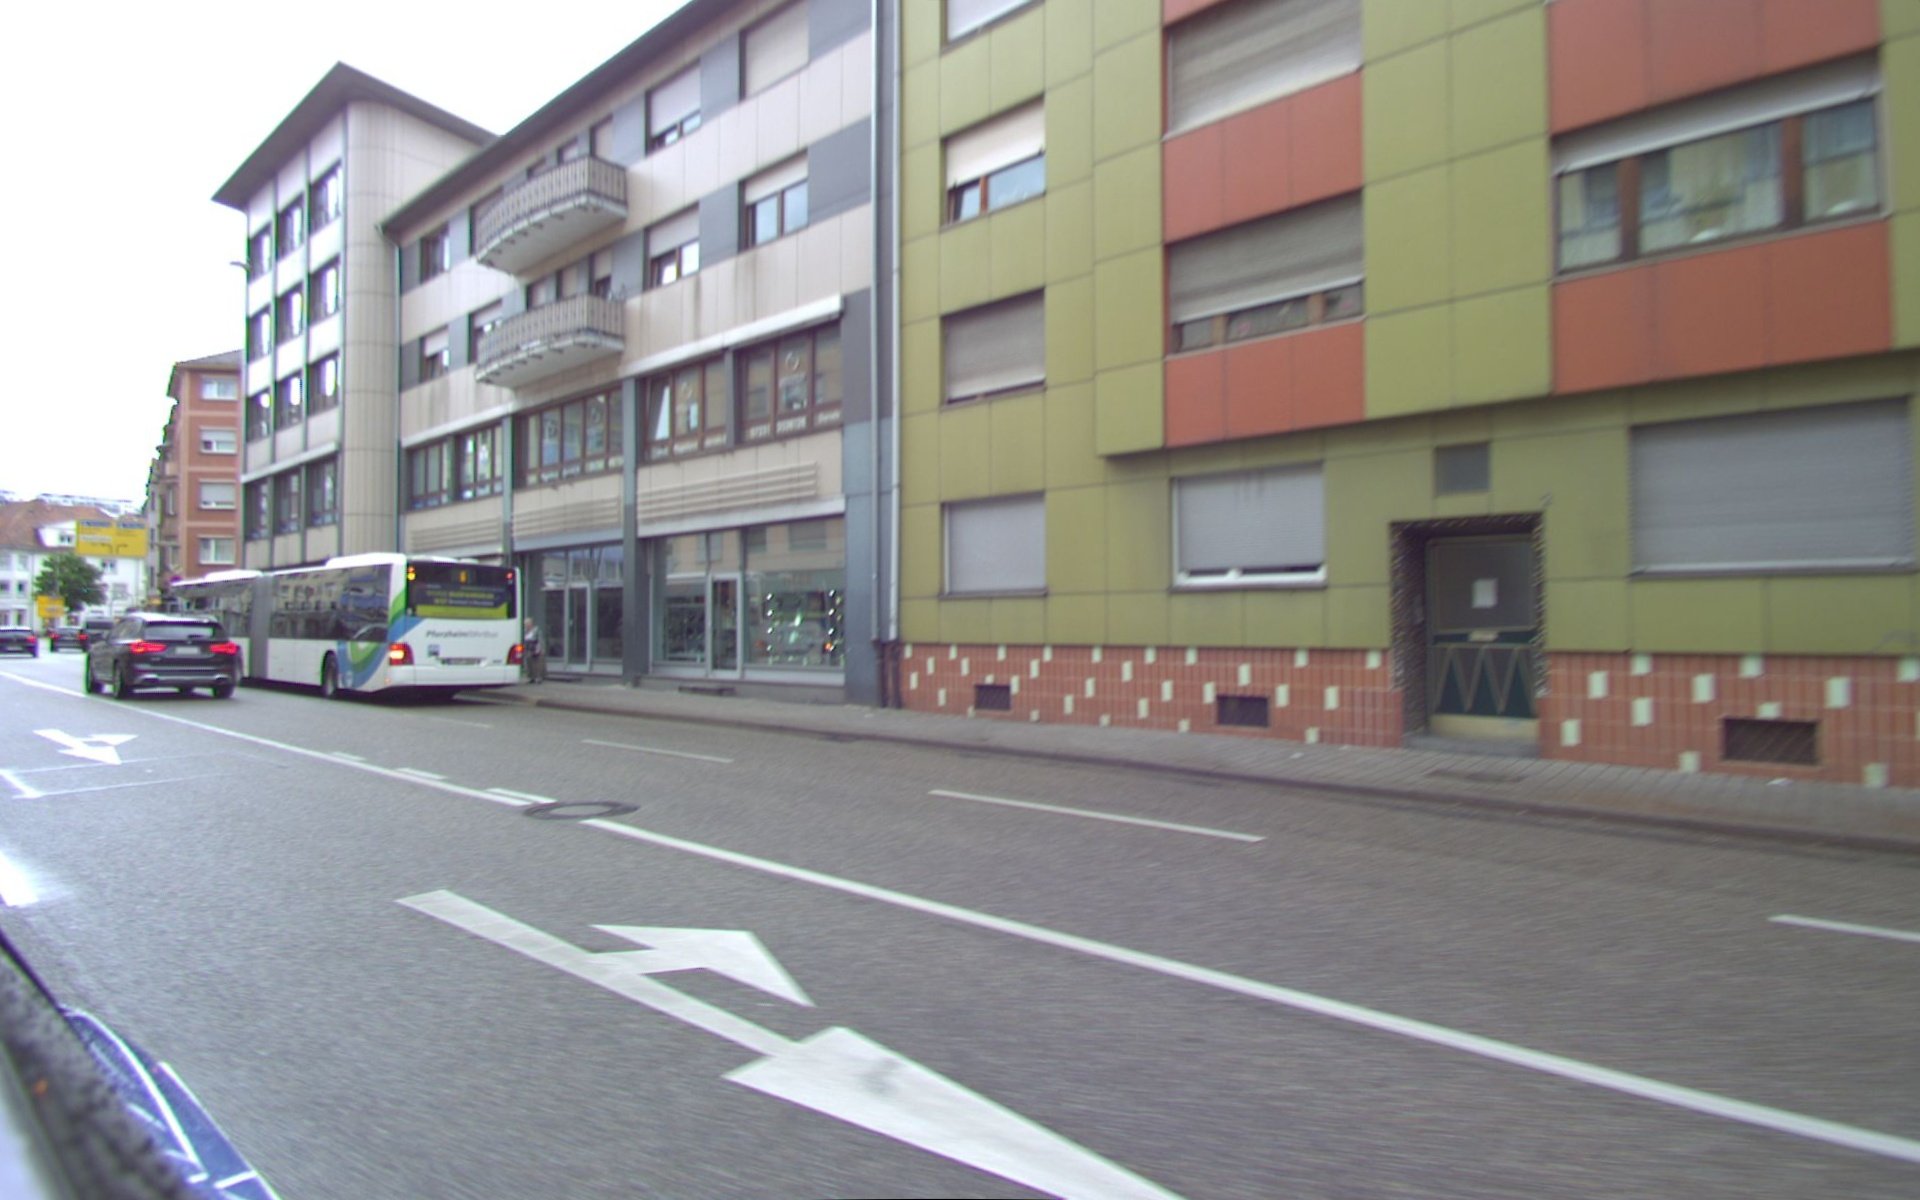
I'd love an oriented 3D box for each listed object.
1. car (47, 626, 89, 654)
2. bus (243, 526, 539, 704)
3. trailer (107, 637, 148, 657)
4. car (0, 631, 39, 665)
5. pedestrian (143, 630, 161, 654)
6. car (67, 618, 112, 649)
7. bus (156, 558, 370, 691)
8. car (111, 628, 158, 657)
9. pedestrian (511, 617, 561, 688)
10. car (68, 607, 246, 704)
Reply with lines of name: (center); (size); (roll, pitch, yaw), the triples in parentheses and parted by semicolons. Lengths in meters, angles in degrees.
car: (-55.811, 2.498, 63.374); (1.721, 1.675, 4.426); (2, -3, -38)
bus: (-12.854, 0.367, 22.344); (9.288, 3.213, 2.697); (-1, -2, 41)
trailer: (-42.533, 2.385, 51.757); (1.567, 0.956, 3.062); (0, -1, -39)
car: (-43.849, 2.192, 46.532); (4.082, 1.462, 1.691); (-1, -2, 40)
pedestrian: (-57.732, 3.005, 72.293); (0.852, 1.691, 0.835); (-1, 0, 37)
car: (-70.220, 2.672, 81.588); (6.353, 2.454, 2.063); (-1, -2, 43)
bus: (-19.713, 0.681, 28.343); (8.907, 3.213, 2.730); (-1, -2, 41)
car: (-44.895, 2.294, 54.999); (1.827, 1.408, 4.799); (-2, 0, -41)
pedestrian: (-9.994, 1.230, 23.869); (0.711, 1.627, 0.828); (-1, -2, 41)
car: (-16.507, 1.064, 20.726); (4.568, 1.770, 1.911); (-1, -2, 39)
